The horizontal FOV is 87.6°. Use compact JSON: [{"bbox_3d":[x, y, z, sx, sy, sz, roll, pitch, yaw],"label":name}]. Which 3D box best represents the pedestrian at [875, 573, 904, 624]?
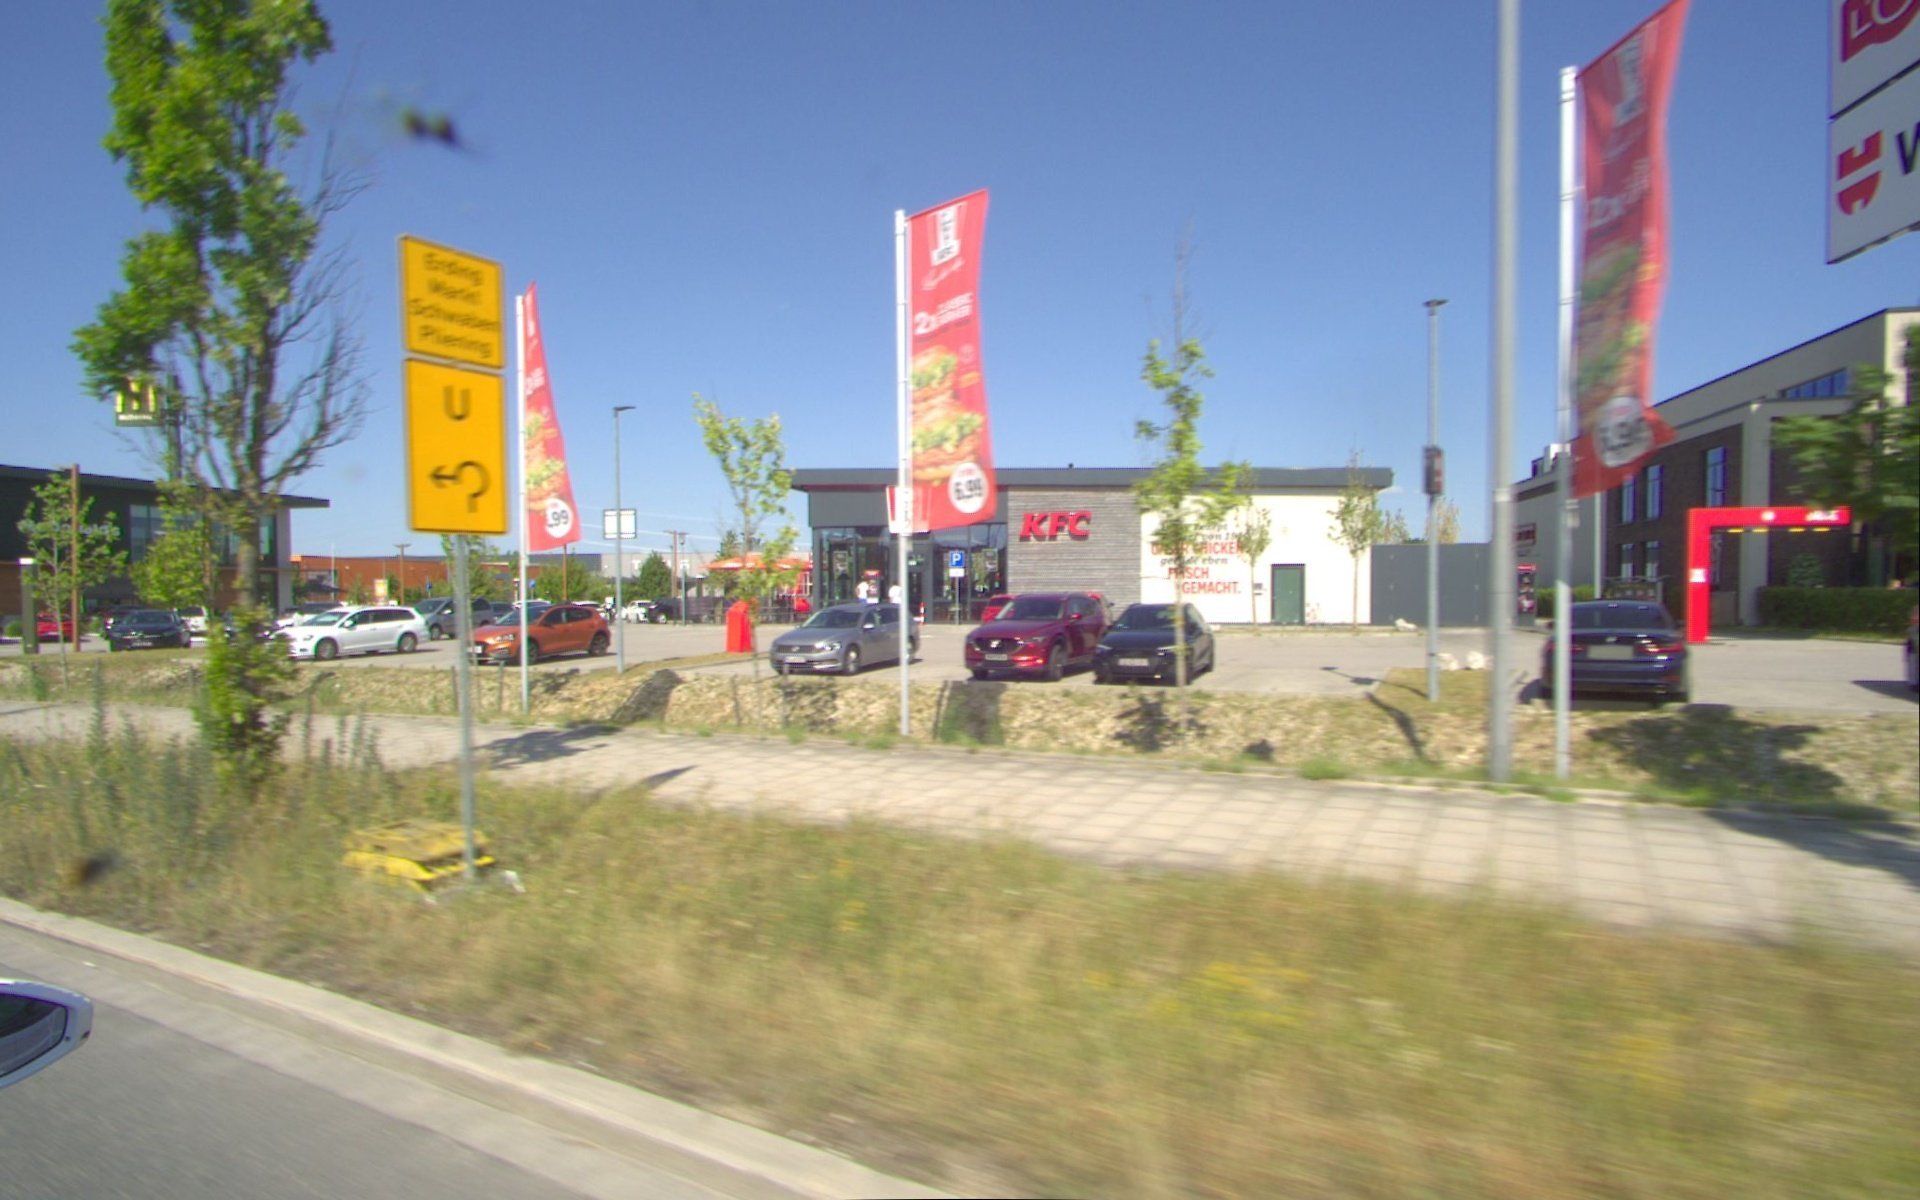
[{"bbox_3d":[-2.852,-0.054,40.565,0.875,2.040,0.914,0,1,17],"label":"pedestrian"}]

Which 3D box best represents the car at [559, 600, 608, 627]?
[{"bbox_3d":[-21.912,0.769,58.180,1.767,1.470,4.143,-1,0,-33],"label":"car"}]

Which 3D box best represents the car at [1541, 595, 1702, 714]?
[{"bbox_3d":[9.850,0.690,15.192,1.764,1.469,4.398,0,1,30],"label":"car"}]

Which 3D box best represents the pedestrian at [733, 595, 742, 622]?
[{"bbox_3d":[-10.600,0.397,47.683,0.287,1.257,0.380,-1,1,12],"label":"pedestrian"}]

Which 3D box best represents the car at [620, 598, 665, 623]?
[{"bbox_3d":[-20.630,0.665,64.958,1.767,1.543,4.143,-1,0,-33],"label":"car"}]

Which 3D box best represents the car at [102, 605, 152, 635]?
[{"bbox_3d":[-44.949,1.059,54.112,1.776,1.533,3.971,-1,1,-36],"label":"car"}]

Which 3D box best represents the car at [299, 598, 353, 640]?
[{"bbox_3d":[-26.078,0.742,41.195,1.767,1.600,4.143,-1,0,-33],"label":"car"}]

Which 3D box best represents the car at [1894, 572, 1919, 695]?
[{"bbox_3d":[13.977,0.501,13.036,1.765,1.758,4.396,0,1,31],"label":"car"}]

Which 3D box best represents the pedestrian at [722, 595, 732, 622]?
[{"bbox_3d":[-10.924,0.394,46.936,0.287,1.257,0.380,-1,1,12],"label":"pedestrian"}]

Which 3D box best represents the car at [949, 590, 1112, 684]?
[{"bbox_3d":[1.562,0.657,20.531,1.840,1.688,4.149,0,1,28],"label":"car"}]

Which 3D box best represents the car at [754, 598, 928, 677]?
[{"bbox_3d":[-2.539,0.752,22.647,1.838,1.510,4.554,0,1,24],"label":"car"}]

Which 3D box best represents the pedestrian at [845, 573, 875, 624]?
[{"bbox_3d":[-4.072,-0.044,40.805,0.875,2.040,0.914,0,1,17],"label":"pedestrian"}]

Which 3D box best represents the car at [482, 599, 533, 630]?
[{"bbox_3d":[-23.177,0.722,51.246,1.767,1.470,4.143,-1,0,-33],"label":"car"}]

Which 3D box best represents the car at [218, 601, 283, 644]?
[{"bbox_3d":[-26.703,0.802,37.785,1.767,1.481,4.143,-1,0,-33],"label":"car"}]

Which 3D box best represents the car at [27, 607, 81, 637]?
[{"bbox_3d":[-45.848,1.080,50.673,3.959,1.453,1.781,0,1,45],"label":"car"}]

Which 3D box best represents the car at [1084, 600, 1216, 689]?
[{"bbox_3d":[3.809,0.764,19.516,1.761,1.469,4.155,0,1,22],"label":"car"}]

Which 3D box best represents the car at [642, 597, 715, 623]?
[{"bbox_3d":[-17.516,0.624,62.304,4.108,1.543,1.782,-1,1,-29],"label":"car"}]

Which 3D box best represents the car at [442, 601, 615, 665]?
[{"bbox_3d":[-11.390,0.810,26.786,1.836,1.510,4.207,0,1,21],"label":"car"}]

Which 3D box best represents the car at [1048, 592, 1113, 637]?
[{"bbox_3d":[4.414,0.475,36.204,1.834,1.451,4.564,0,1,13],"label":"car"}]

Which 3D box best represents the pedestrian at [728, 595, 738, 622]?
[{"bbox_3d":[-10.628,0.391,46.885,0.287,1.257,0.380,-1,1,12],"label":"pedestrian"}]

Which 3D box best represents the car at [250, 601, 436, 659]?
[{"bbox_3d":[-18.167,0.828,29.754,1.836,1.510,4.529,0,1,21],"label":"car"}]

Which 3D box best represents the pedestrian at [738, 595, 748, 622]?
[{"bbox_3d":[-10.316,0.395,47.619,0.287,1.257,0.380,-1,1,12],"label":"pedestrian"}]

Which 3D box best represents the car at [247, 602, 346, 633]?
[{"bbox_3d":[-32.766,0.849,49.617,3.942,1.391,1.789,-1,1,-30],"label":"car"}]

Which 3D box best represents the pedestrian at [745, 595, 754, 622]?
[{"bbox_3d":[-10.009,0.393,47.558,0.287,1.257,0.380,-1,1,12],"label":"pedestrian"}]

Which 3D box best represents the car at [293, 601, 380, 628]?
[{"bbox_3d":[-35.483,0.811,57.097,4.120,1.391,1.789,-1,1,-30],"label":"car"}]

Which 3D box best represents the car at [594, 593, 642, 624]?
[{"bbox_3d":[-20.782,0.514,60.782,1.767,1.781,4.143,-1,1,-33],"label":"car"}]

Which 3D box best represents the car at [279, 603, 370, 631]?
[{"bbox_3d":[-33.402,0.864,52.754,3.942,1.391,1.789,-1,1,-30],"label":"car"}]

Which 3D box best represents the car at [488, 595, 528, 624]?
[{"bbox_3d":[-29.350,0.582,64.975,1.767,1.781,4.143,-1,1,-33],"label":"car"}]

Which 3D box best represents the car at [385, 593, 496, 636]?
[{"bbox_3d":[-21.241,0.549,41.135,1.758,1.657,4.165,-1,0,13],"label":"car"}]

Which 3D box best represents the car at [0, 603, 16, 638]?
[{"bbox_3d":[-46.645,0.976,48.082,3.959,1.626,1.781,0,1,45],"label":"car"}]

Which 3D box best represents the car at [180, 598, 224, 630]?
[{"bbox_3d":[-43.813,0.797,57.944,1.775,1.724,3.973,-1,1,-35],"label":"car"}]

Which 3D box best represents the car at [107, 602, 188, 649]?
[{"bbox_3d":[-27.669,0.838,34.215,1.680,1.481,4.143,-1,0,-33],"label":"car"}]

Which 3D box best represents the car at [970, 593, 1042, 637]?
[{"bbox_3d":[1.758,0.494,36.593,1.834,1.451,4.564,0,1,13],"label":"car"}]
